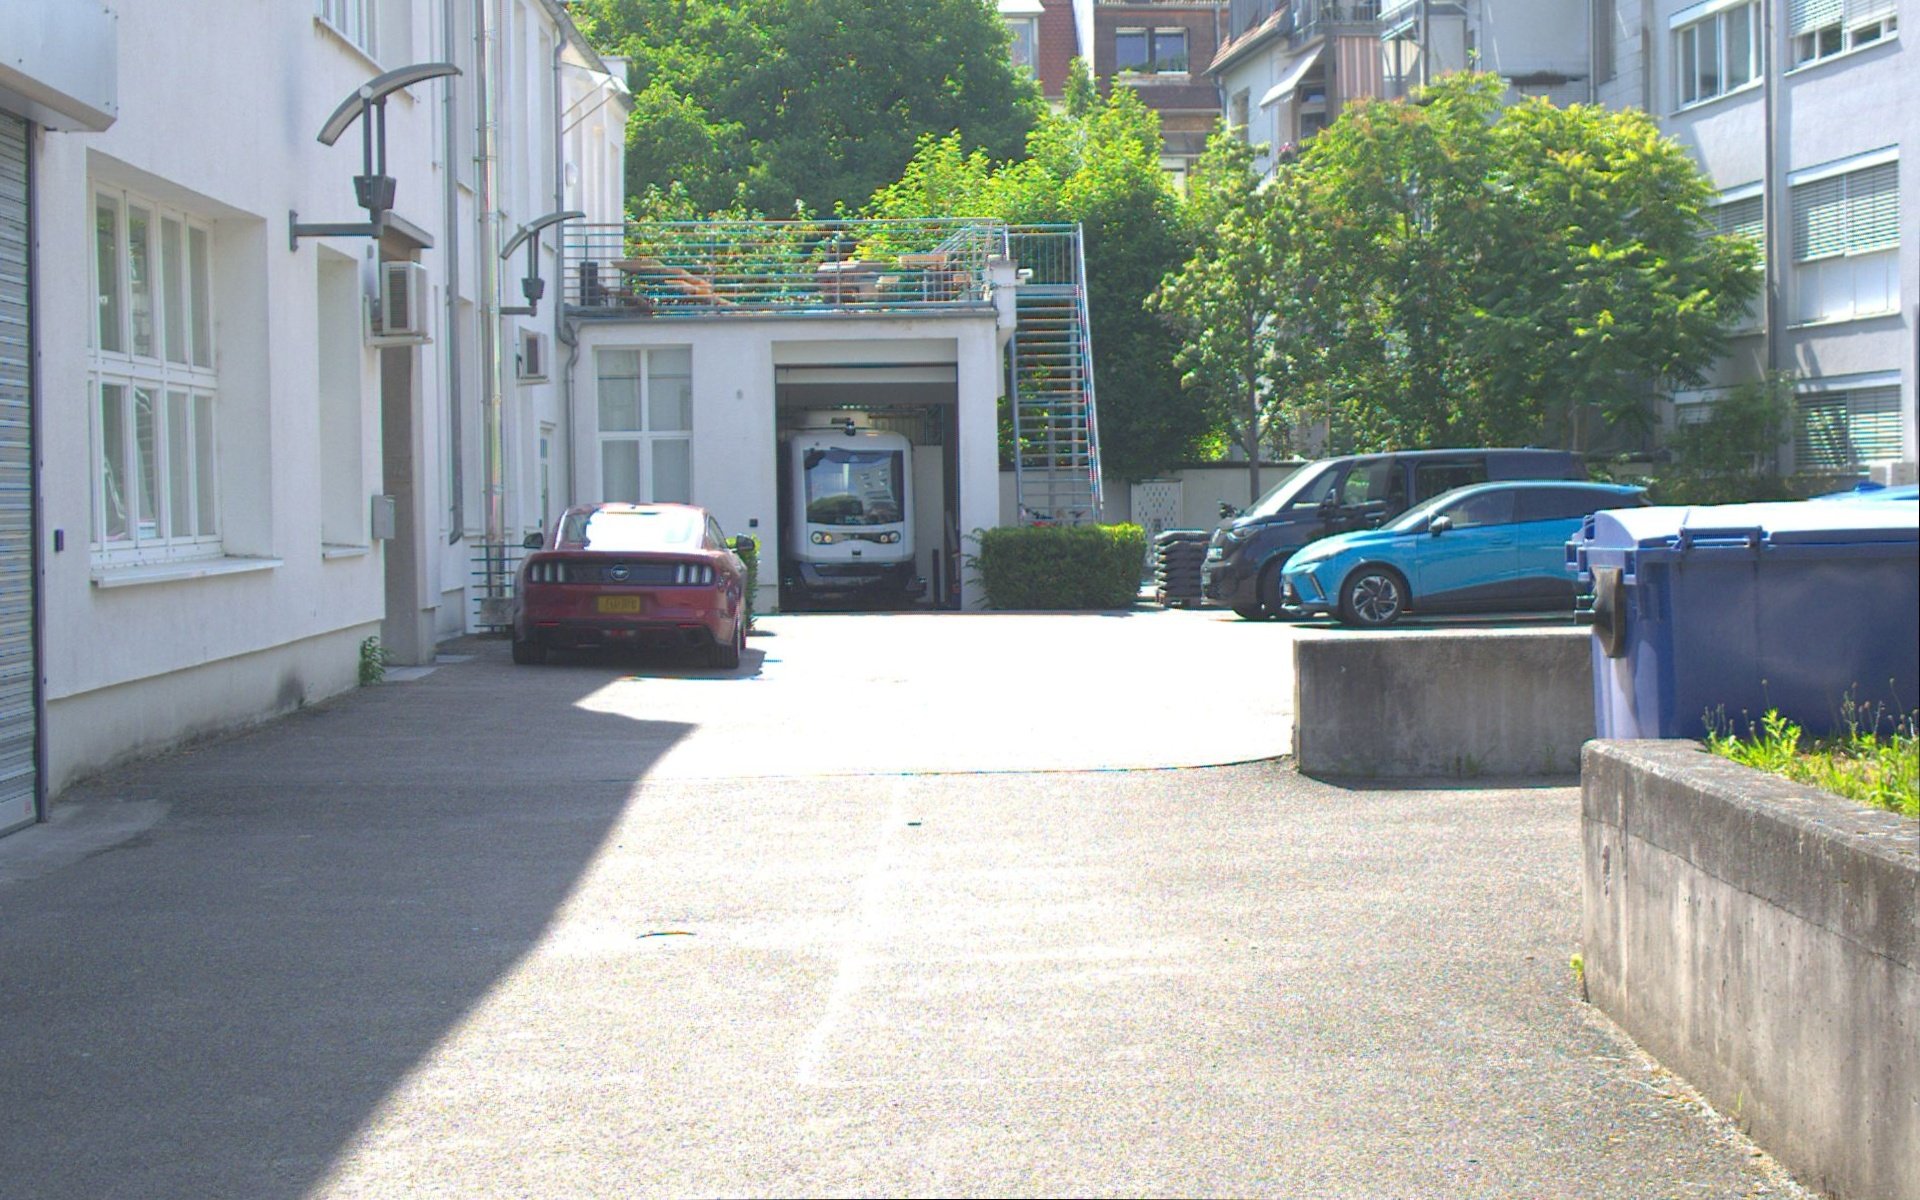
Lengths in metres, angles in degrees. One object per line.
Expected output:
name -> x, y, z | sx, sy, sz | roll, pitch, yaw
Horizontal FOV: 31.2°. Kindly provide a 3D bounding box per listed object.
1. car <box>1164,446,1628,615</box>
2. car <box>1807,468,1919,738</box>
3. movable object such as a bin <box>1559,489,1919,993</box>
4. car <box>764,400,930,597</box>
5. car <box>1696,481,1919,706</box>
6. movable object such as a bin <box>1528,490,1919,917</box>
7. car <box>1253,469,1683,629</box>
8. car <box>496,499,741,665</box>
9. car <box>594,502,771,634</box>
car -> 5.097, -0.847, 40.388 | 4.950, 1.761, 2.097 | -2, 3, -13
car -> 6.963, -0.064, 19.129 | 3.986, 1.422, 1.812 | -2, 2, -3
movable object such as a bin -> 2.453, 0.363, 9.797 | 1.247, 1.315, 1.142 | -3, 0, 1
car -> -1.562, -1.447, 49.889 | 2.174, 2.598, 6.735 | -2, 1, -1
car -> 7.029, -0.100, 22.581 | 3.987, 1.389, 1.689 | -1, 2, -1
movable object such as a bin -> 2.689, 0.316, 11.695 | 1.247, 1.350, 1.129 | -1, 2, -4
car -> 5.442, -0.576, 37.146 | 4.228, 1.527, 2.001 | -2, 3, -4
car -> -2.918, -0.204, 30.076 | 1.852, 1.315, 4.001 | 1, 2, -2
car -> -2.937, -0.380, 37.019 | 1.614, 1.291, 3.759 | -1, 2, -1
